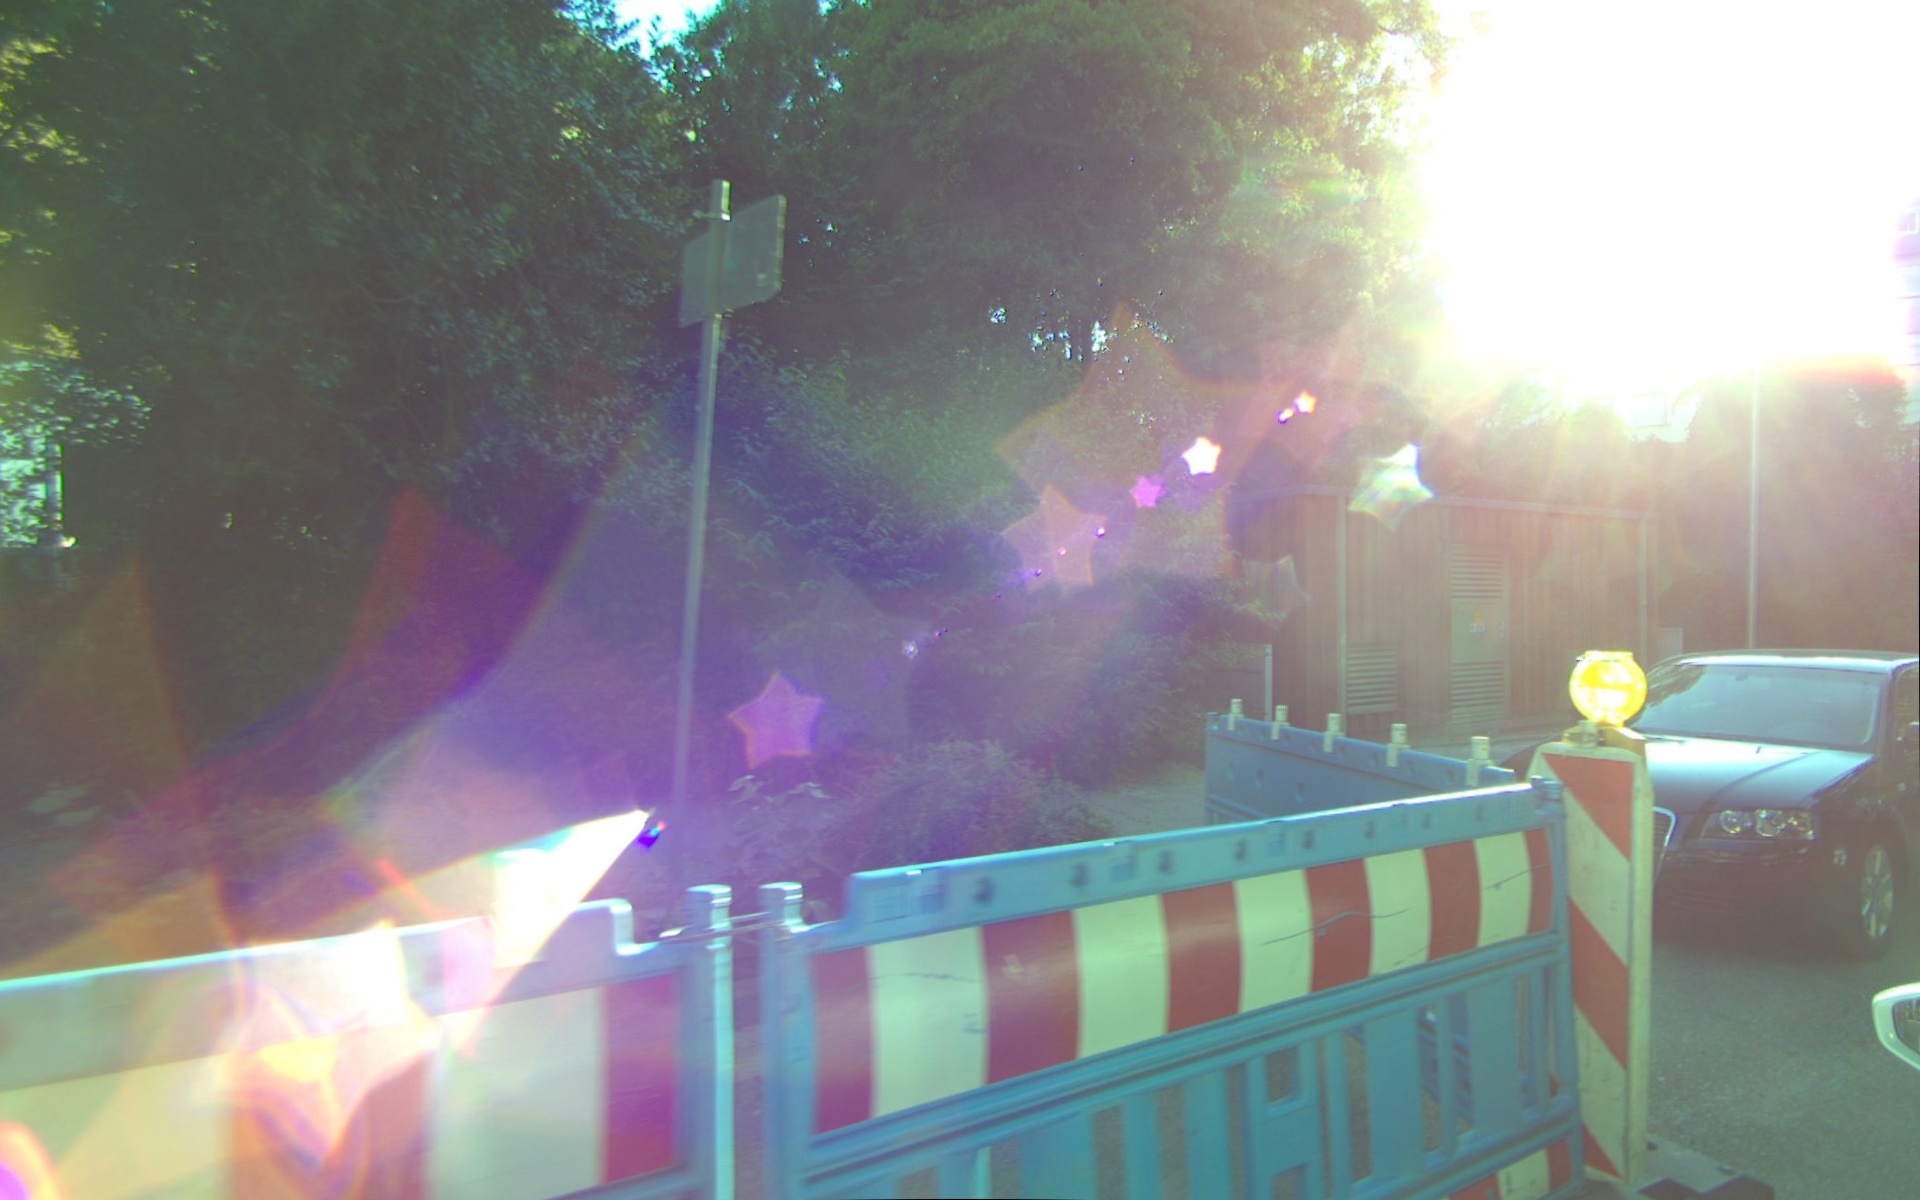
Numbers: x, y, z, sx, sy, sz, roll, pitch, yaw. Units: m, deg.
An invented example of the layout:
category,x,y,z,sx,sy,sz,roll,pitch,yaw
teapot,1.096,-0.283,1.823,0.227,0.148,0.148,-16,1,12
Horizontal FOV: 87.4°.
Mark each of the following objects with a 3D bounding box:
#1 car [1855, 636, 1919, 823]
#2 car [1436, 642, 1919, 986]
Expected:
category,x,y,z,sx,sy,sz,roll,pitch,yaw
car,9.950,1.097,8.914,4.496,1.517,1.691,2,-3,-30
car,4.882,0.975,5.959,4.145,1.418,1.691,2,-3,-30
